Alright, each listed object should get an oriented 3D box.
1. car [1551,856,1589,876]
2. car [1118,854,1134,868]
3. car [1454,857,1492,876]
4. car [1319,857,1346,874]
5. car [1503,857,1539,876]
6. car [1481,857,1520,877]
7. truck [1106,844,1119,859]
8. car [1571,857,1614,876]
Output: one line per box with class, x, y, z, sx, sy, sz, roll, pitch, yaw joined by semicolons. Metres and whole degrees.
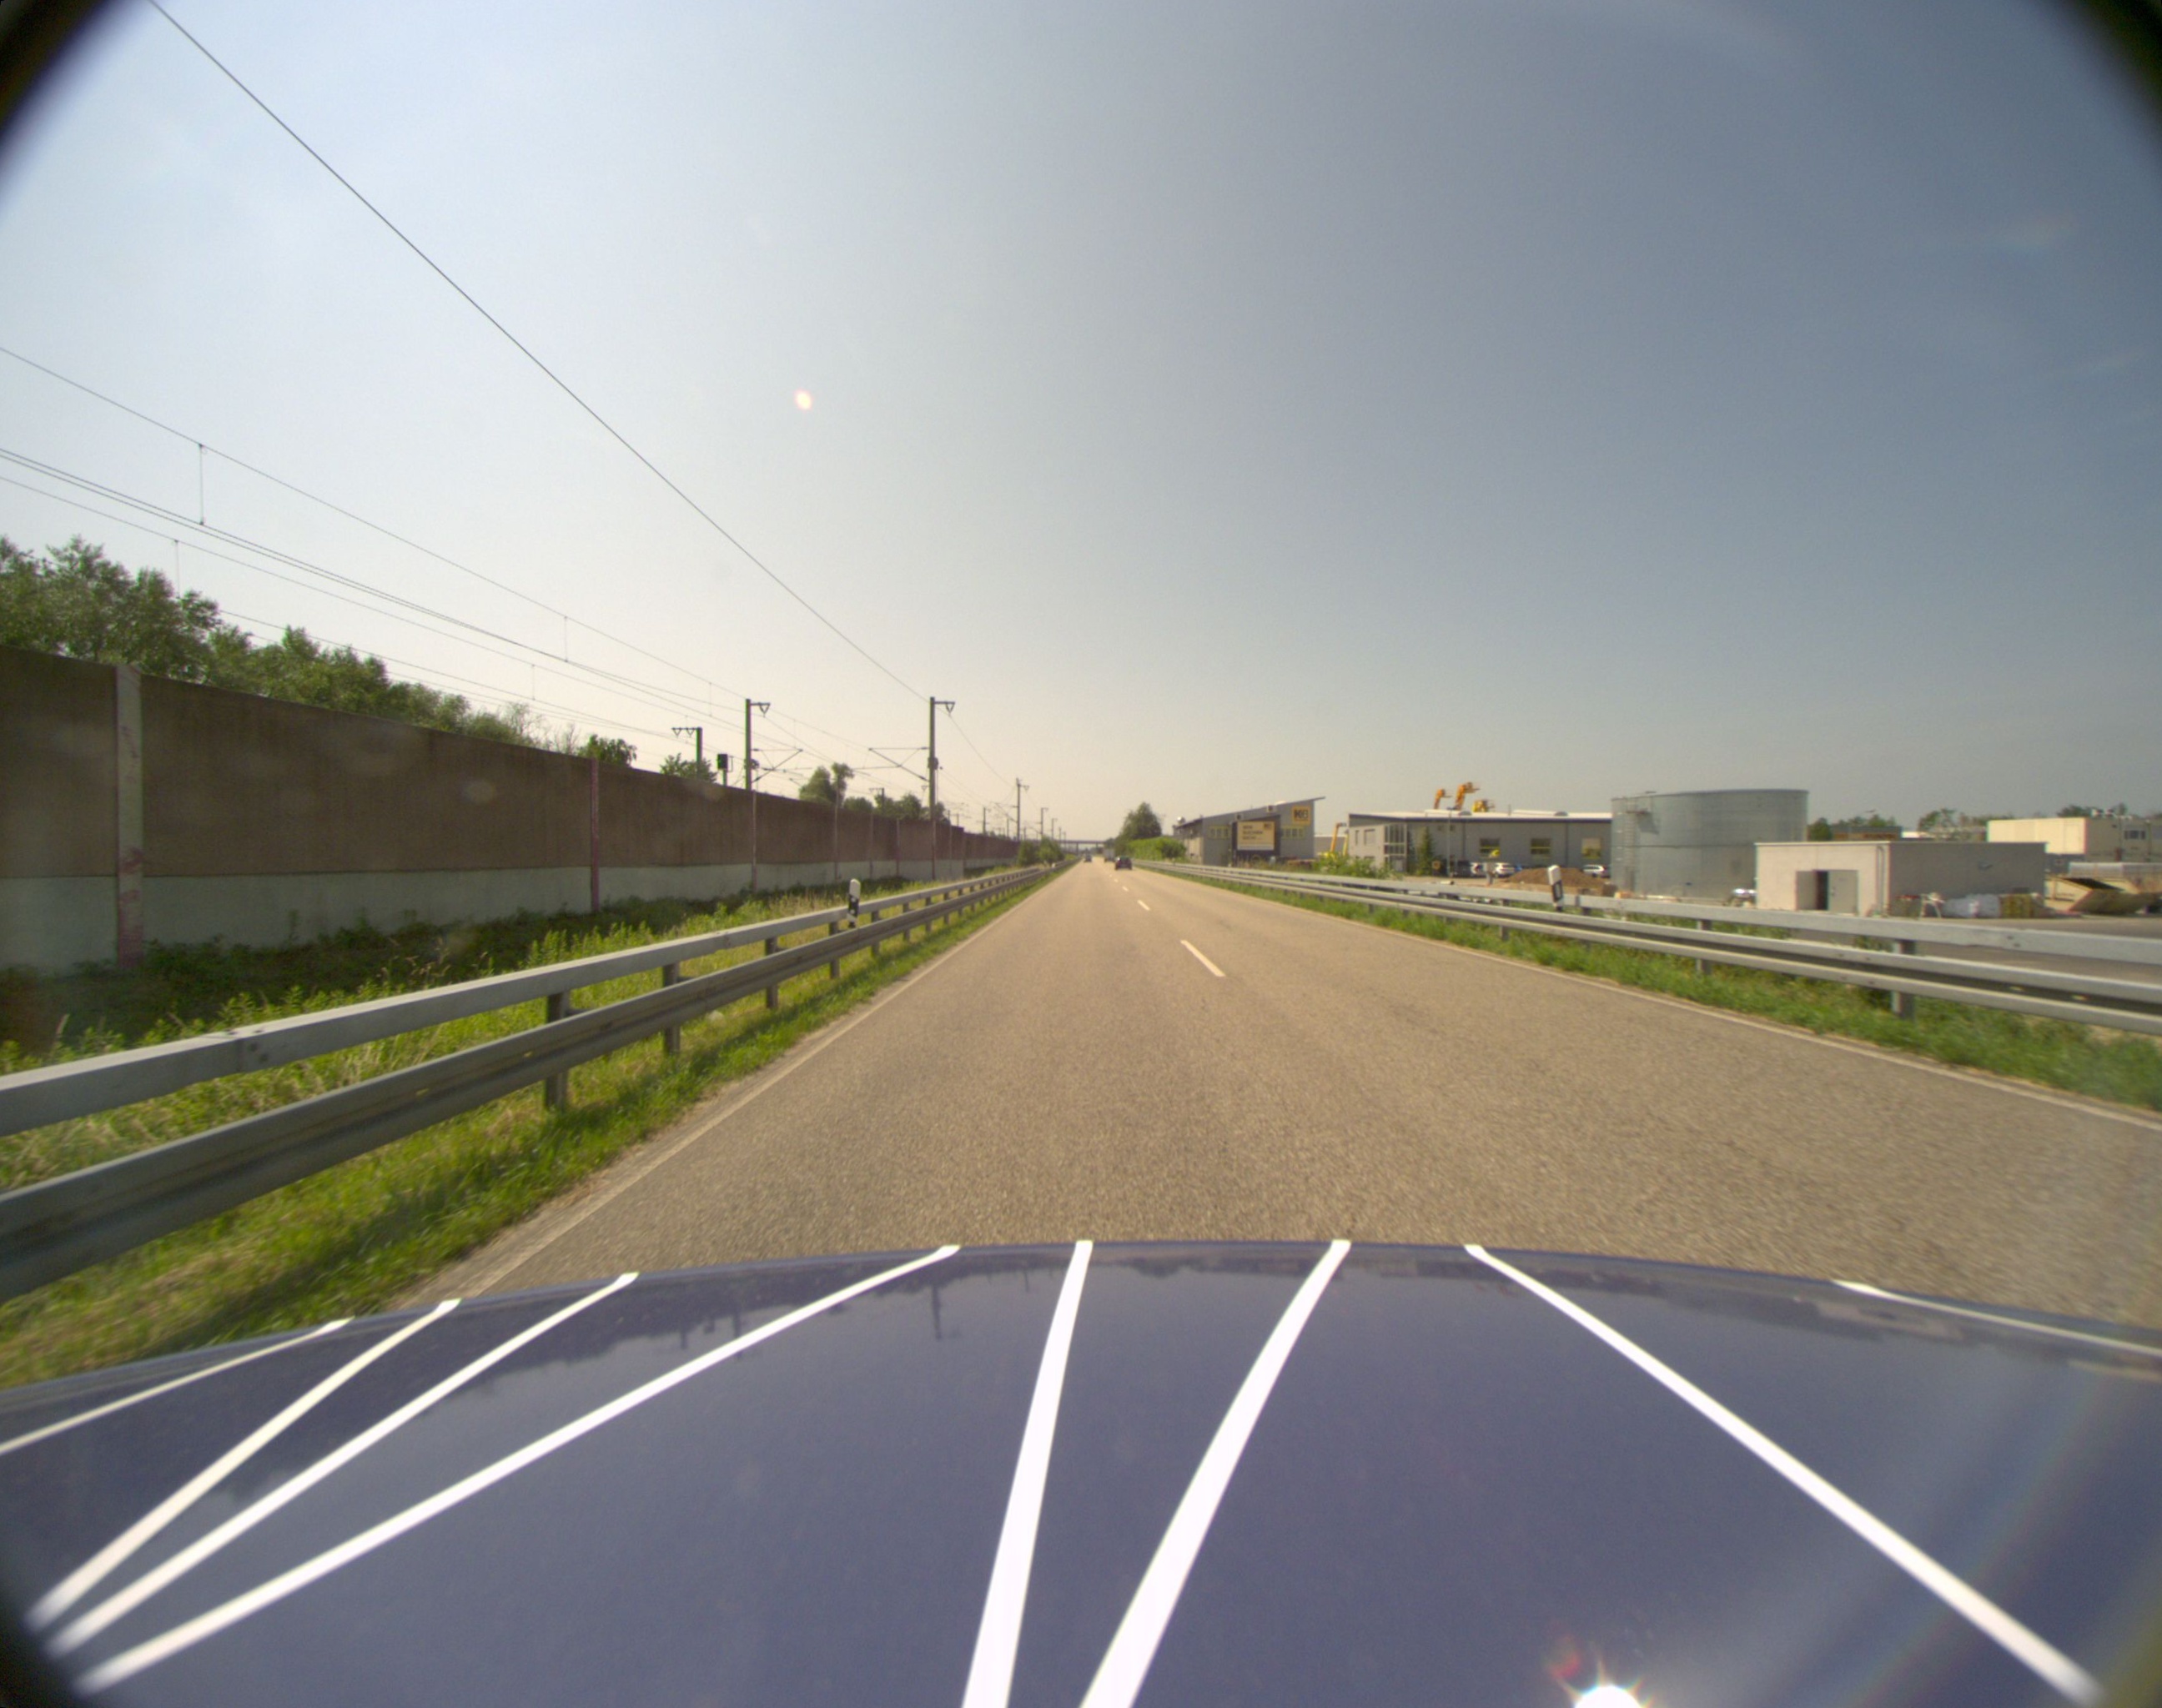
car;52.919;1.264;82.339;1.834;2.002;3.527;2;0;1
car;4.813;0.778;81.362;1.544;1.426;3.654;-1;0;0
car;42.364;1.342;82.137;1.999;2.002;3.999;0;0;-1
car;26.939;1.226;81.390;1.555;1.664;3.311;0;1;-4
car;47.784;1.308;82.593;1.834;1.889;3.689;2;0;1
car;45.339;1.365;82.127;1.999;2.002;3.999;0;1;-1
truck;6.371;-0.558;155.601;2.242;2.950;6.317;-2;1;-1
car;55.549;1.343;82.578;1.999;2.002;3.999;0;0;-1
